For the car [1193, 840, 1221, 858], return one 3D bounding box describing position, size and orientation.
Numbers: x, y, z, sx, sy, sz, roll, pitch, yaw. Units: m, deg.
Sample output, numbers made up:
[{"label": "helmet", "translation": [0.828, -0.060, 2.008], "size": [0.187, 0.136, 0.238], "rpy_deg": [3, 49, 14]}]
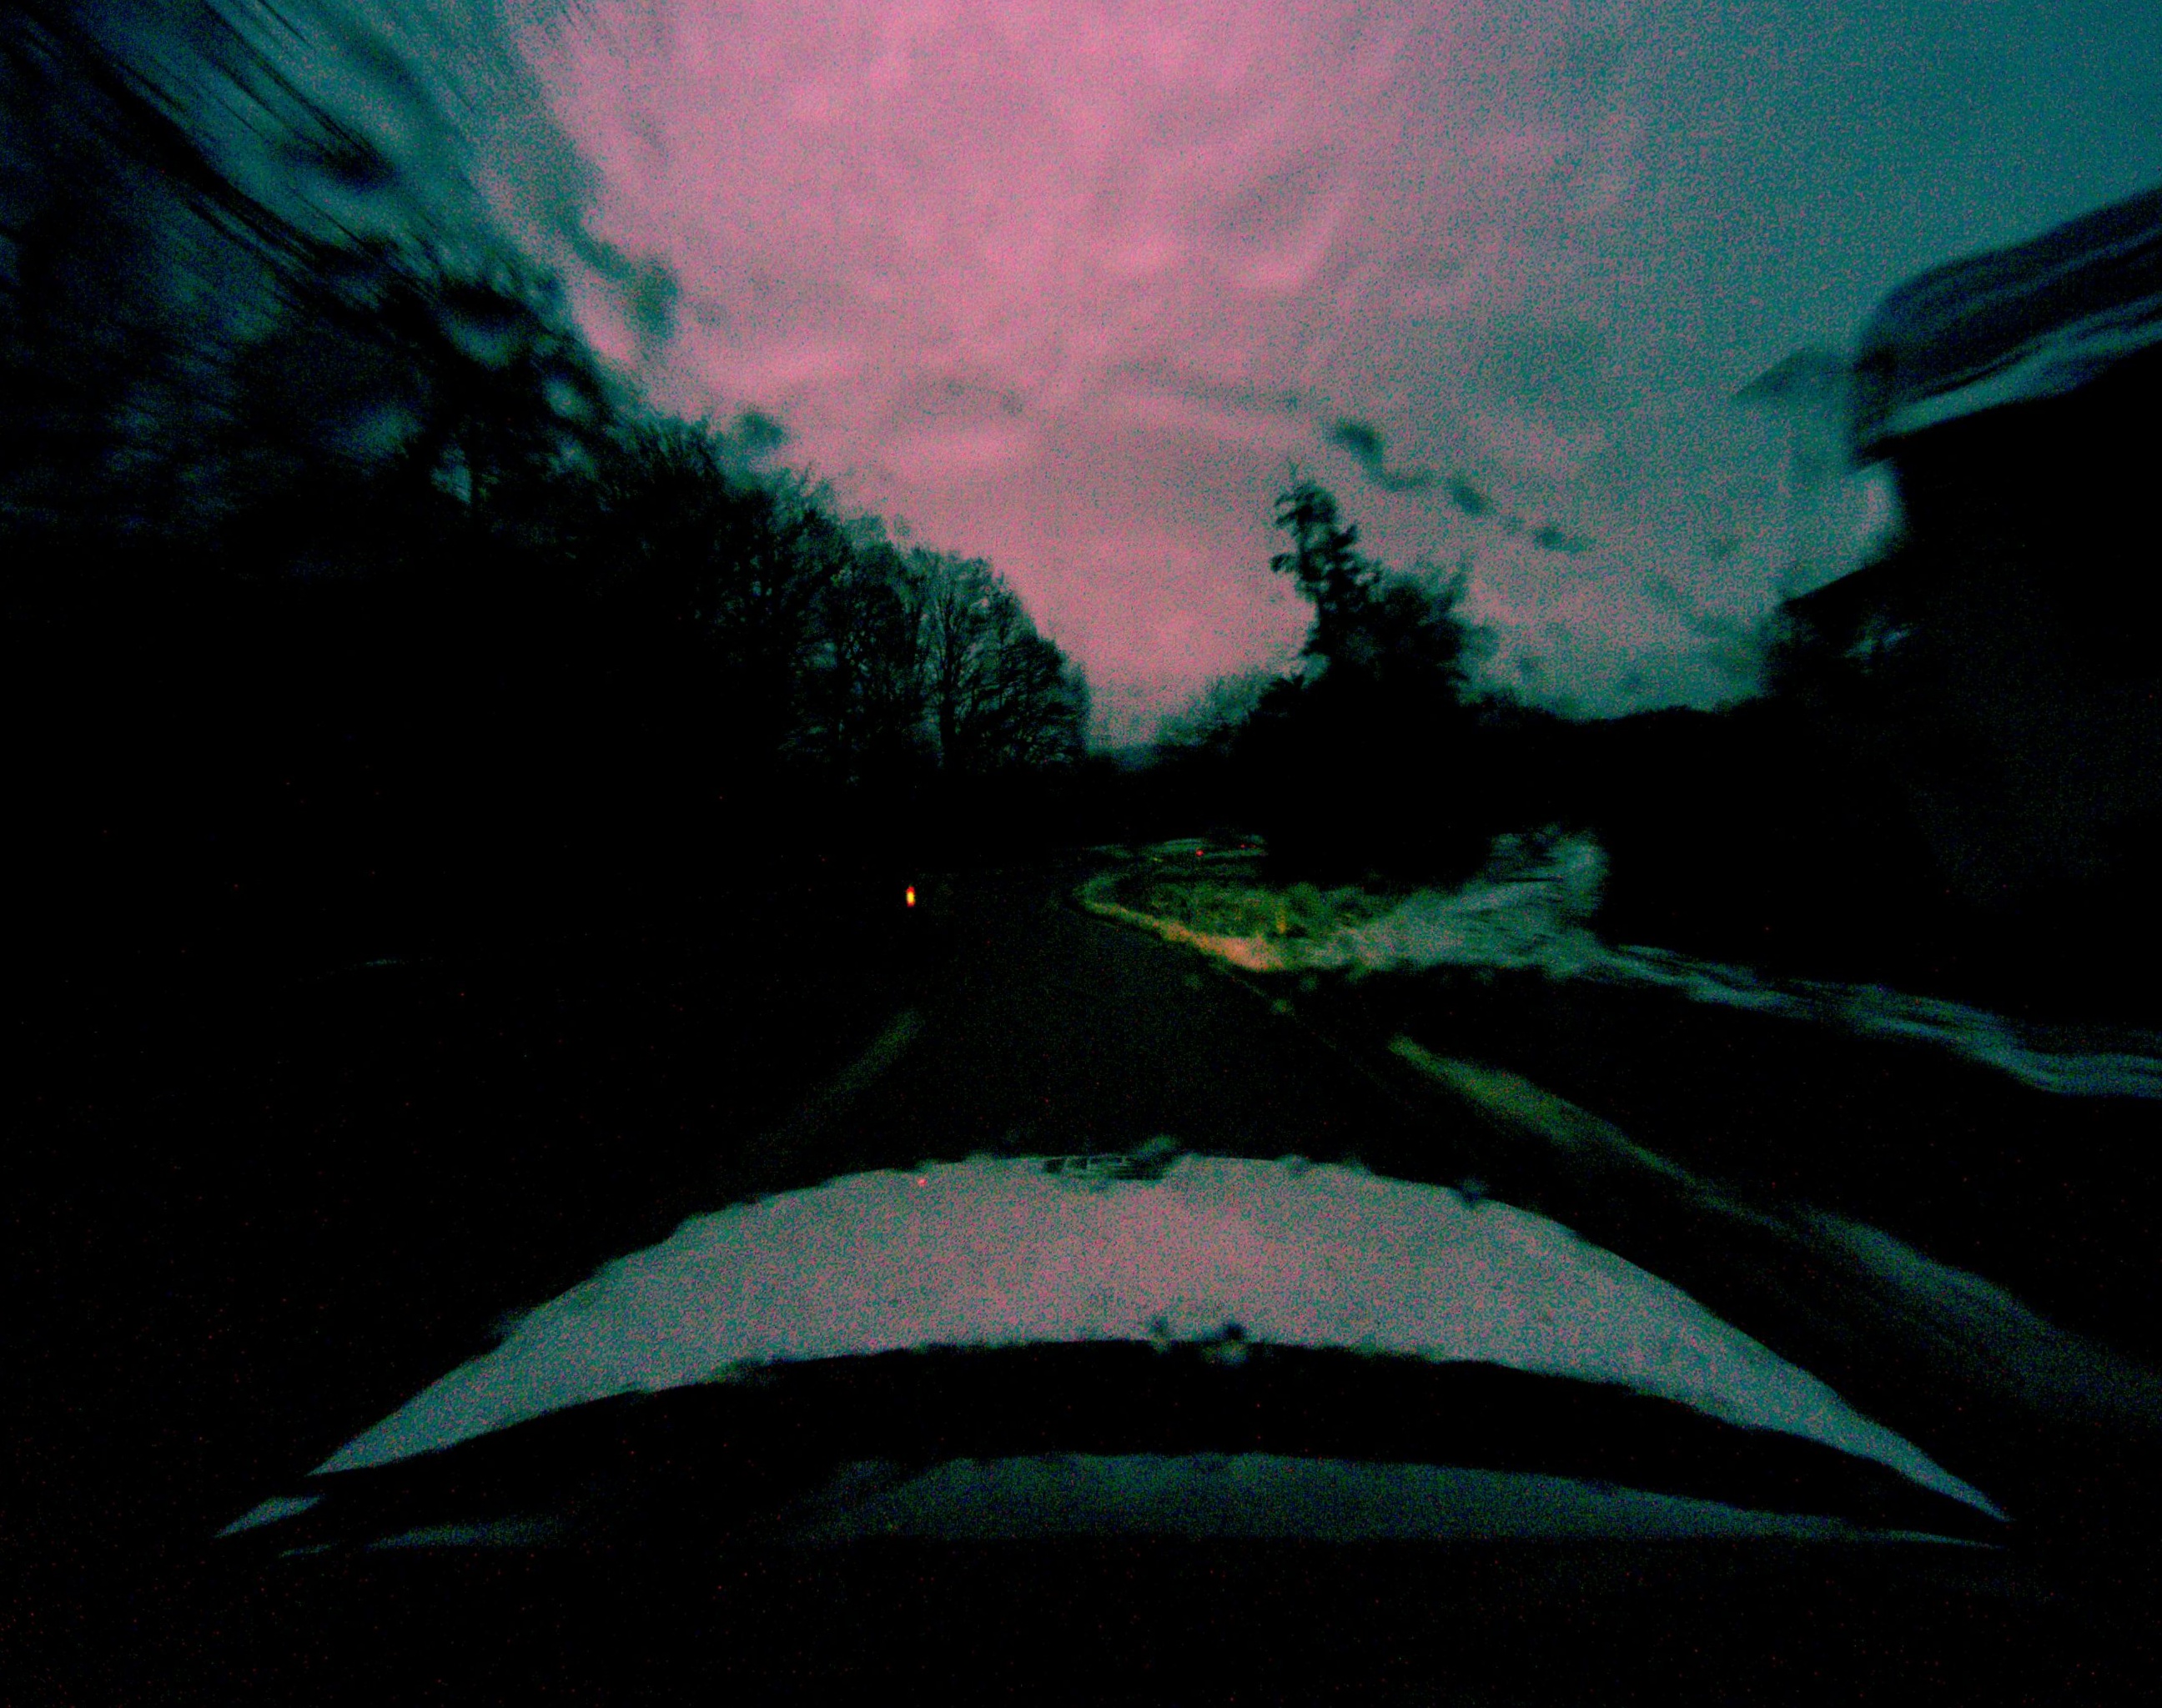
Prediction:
[{"label": "car", "translation": [13.496, -0.586, 87.199], "size": [1.915, 1.781, 4.023], "rpy_deg": [-2, 0, 25]}]
